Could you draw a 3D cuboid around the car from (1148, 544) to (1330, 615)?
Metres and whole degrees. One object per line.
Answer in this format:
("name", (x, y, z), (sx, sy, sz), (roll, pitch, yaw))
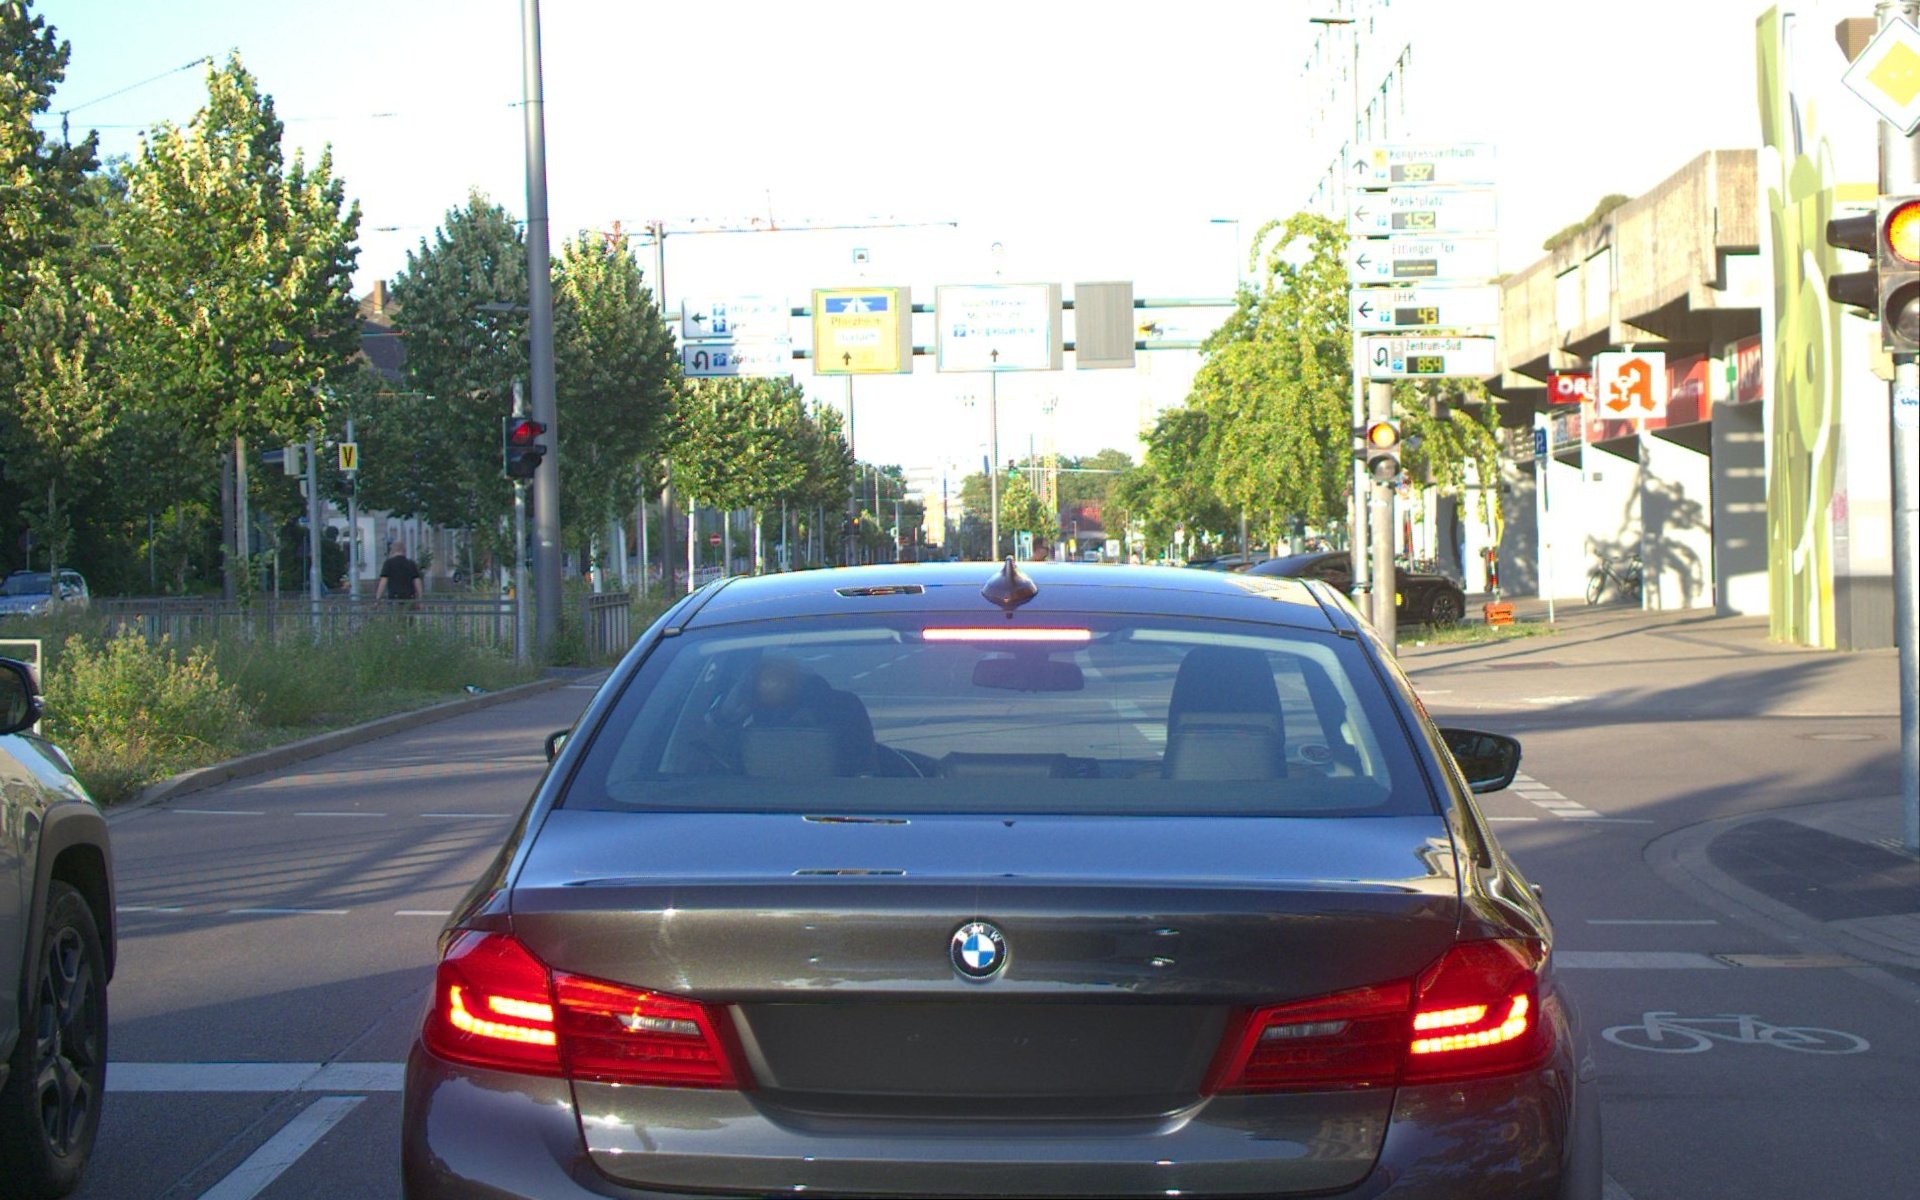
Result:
("car", (6.919, -0.518, 85.159), (4.255, 1.653, 1.860), (-1, 2, -35))

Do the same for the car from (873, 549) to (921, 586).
("car", (-2.672, -1.399, 146.952), (1.979, 1.428, 4.843), (0, 2, 0))

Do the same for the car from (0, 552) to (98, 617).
("car", (-21.943, -0.377, 81.939), (1.800, 1.476, 3.783), (-1, 1, 1))

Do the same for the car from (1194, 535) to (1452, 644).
("car", (5.997, -0.206, 56.544), (4.256, 1.653, 1.860), (-2, 3, -42))

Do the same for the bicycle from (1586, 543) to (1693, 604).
("bicycle", (13.618, -0.528, 68.972), (2.017, 1.145, 0.690), (2, 0, 7))

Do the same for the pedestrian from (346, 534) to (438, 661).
("pedestrian", (-7.221, -0.034, 43.704), (0.809, 1.581, 0.837), (-2, 1, -39))

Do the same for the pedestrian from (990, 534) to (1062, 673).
("pedestrian", (0.822, 0.043, 42.965), (0.835, 1.706, 0.648), (-1, 1, -1))

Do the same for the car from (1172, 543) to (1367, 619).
("car", (7.129, -0.459, 79.011), (4.255, 1.653, 1.860), (-1, 2, -35))

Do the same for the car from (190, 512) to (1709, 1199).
("car", (0.045, 0.591, 6.650), (1.932, 1.476, 4.522), (0, 2, 2))

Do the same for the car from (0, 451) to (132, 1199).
("car", (-2.893, 0.546, 6.222), (1.854, 1.653, 4.269), (0, 2, -1))
